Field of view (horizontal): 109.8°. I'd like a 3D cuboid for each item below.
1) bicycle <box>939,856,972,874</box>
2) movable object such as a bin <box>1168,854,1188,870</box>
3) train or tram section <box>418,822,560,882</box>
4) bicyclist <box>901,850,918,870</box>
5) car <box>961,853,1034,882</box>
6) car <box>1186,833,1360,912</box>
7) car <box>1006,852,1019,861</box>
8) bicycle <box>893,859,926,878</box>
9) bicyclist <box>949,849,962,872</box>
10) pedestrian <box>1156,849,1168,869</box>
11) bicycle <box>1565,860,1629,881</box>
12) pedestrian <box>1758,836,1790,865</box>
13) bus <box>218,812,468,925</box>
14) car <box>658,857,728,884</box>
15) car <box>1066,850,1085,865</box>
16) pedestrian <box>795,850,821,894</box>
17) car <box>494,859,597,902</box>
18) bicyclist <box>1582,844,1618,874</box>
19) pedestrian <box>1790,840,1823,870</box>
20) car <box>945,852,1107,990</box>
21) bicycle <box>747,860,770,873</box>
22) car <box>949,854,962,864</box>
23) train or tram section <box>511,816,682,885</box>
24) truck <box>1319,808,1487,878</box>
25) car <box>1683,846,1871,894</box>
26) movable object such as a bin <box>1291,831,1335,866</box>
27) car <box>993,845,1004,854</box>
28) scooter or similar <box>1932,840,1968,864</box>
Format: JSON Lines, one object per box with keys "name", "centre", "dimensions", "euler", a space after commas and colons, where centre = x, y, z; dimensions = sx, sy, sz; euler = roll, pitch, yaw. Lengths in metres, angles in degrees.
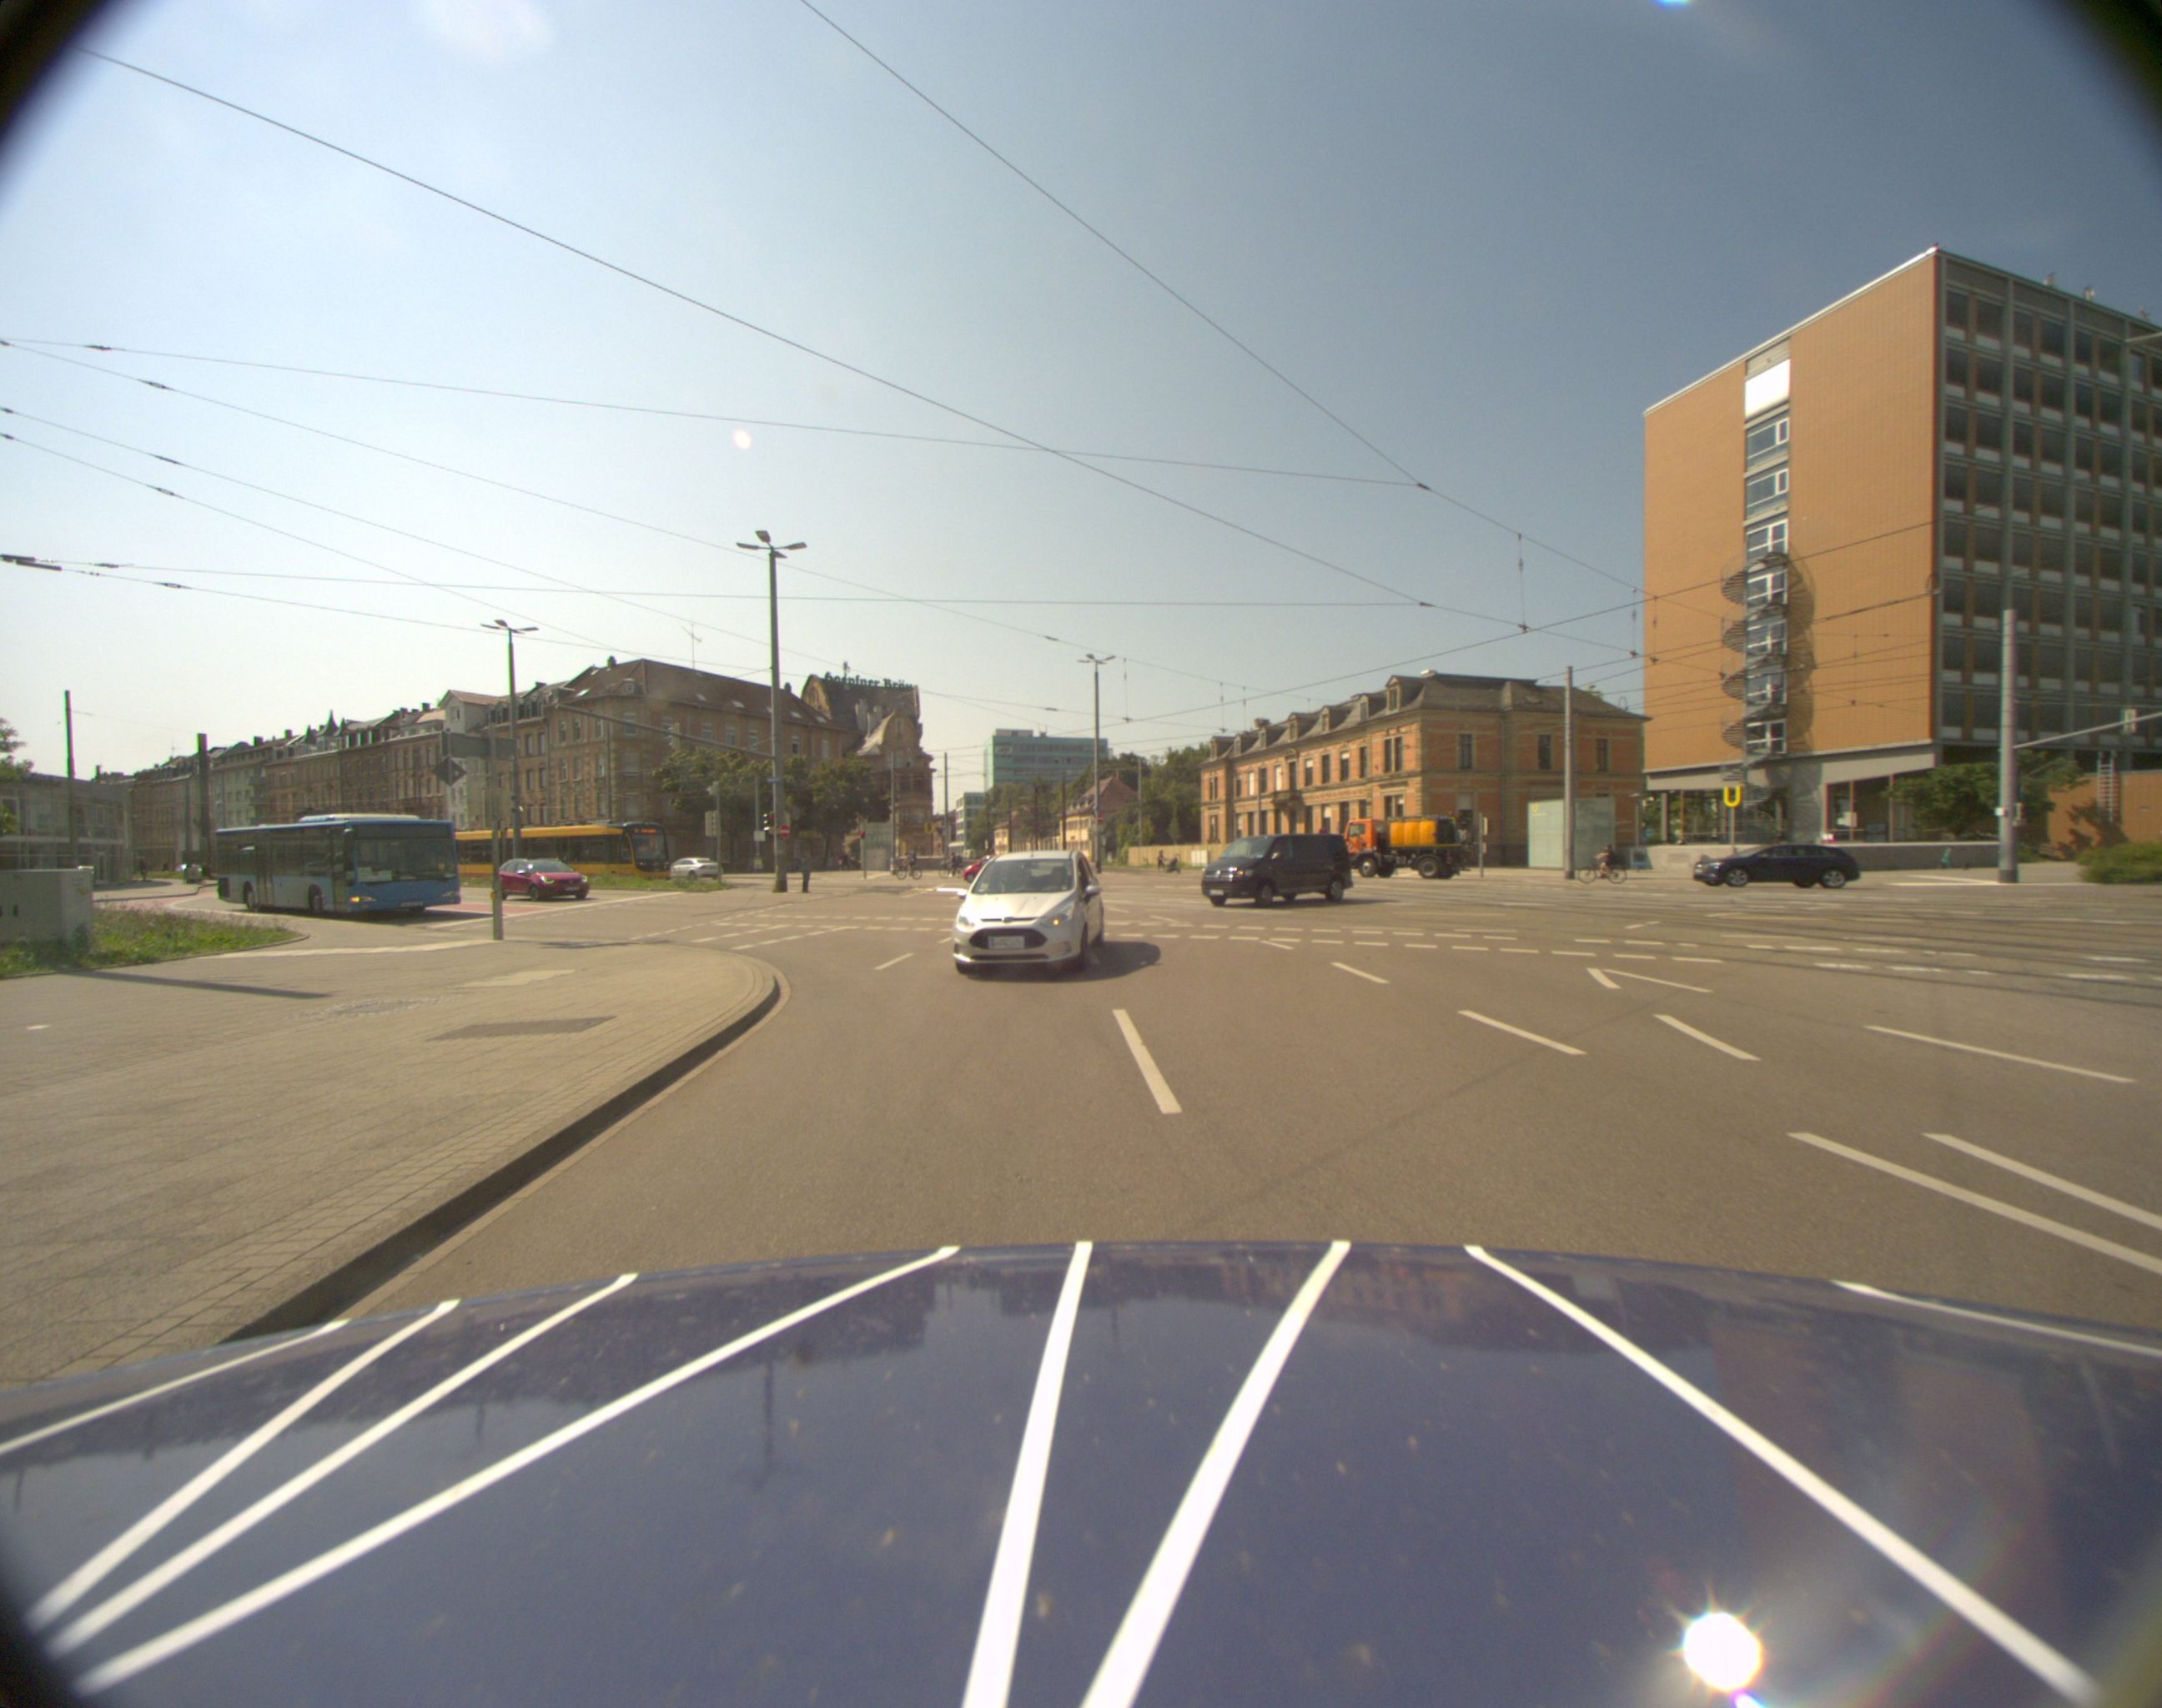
{"name": "bicycle", "centre": [-8.209, 0.699, 49.631], "dimensions": [2.123, 1.105, 0.442], "euler": [1, 1, 17]}
{"name": "movable object such as a bin", "centre": [6.589, 0.547, 51.550], "dimensions": [1.035, 1.078, 0.822], "euler": [-2, -1, 38]}
{"name": "train or tram section", "centre": [-38.437, -0.105, 49.150], "dimensions": [12.184, 3.540, 2.600], "euler": [0, 1, 29]}
{"name": "bicyclist", "centre": [-10.550, 0.373, 46.790], "dimensions": [0.864, 1.227, 1.101], "euler": [-1, 1, -3]}
{"name": "car", "centre": [-4.281, 0.671, 38.866], "dimensions": [3.351, 1.400, 1.520], "euler": [-1, 0, 22]}
{"name": "car", "centre": [5.481, 0.431, 21.457], "dimensions": [4.893, 1.920, 1.896], "euler": [-2, 2, -32]}
{"name": "car", "centre": [-13.557, 0.516, 149.581], "dimensions": [2.001, 1.673, 3.997], "euler": [-1, -1, -12]}
{"name": "bicycle", "centre": [-10.507, 0.909, 46.668], "dimensions": [1.854, 1.105, 0.712], "euler": [-1, 1, -4]}
{"name": "bicyclist", "centre": [-8.192, 0.406, 49.619], "dimensions": [0.643, 1.473, 0.659], "euler": [1, 1, 17]}
{"name": "pedestrian", "centre": [5.526, 0.314, 51.799], "dimensions": [0.815, 1.343, 0.720], "euler": [-1, 1, 5]}
{"name": "bicycle", "centre": [22.206, 0.719, 32.745], "dimensions": [2.165, 0.894, 0.642], "euler": [-1, 1, 20]}
{"name": "pedestrian", "centre": [33.696, -0.163, 36.972], "dimensions": [0.848, 1.387, 0.786], "euler": [-1, 1, -1]}
{"name": "bus", "centre": [-24.452, 0.432, 24.851], "dimensions": [12.049, 3.047, 2.739], "euler": [-1, 1, 31]}
{"name": "car", "centre": [-25.307, 1.054, 49.569], "dimensions": [4.590, 1.609, 1.775], "euler": [0, 1, 29]}
{"name": "car", "centre": [-0.765, 0.513, 103.072], "dimensions": [2.000, 2.001, 3.998], "euler": [-1, -1, -9]}
{"name": "pedestrian", "centre": [-10.678, 0.701, 29.752], "dimensions": [0.721, 1.677, 0.802], "euler": [2, -1, -35]}
{"name": "car", "centre": [-20.039, 0.981, 28.410], "dimensions": [3.762, 1.463, 1.633], "euler": [-1, 1, 29]}
{"name": "bicyclist", "centre": [22.390, 0.201, 32.804], "dimensions": [1.103, 1.259, 0.858], "euler": [-1, 1, 19]}
{"name": "pedestrian", "centre": [34.212, 0.030, 35.839], "dimensions": [0.848, 1.387, 0.786], "euler": [-1, 1, -1]}
{"name": "car", "centre": [-0.590, 0.802, 11.230], "dimensions": [1.691, 1.586, 4.362], "euler": [-1, 1, 5]}
{"name": "bicycle", "centre": [-25.249, 0.997, 59.544], "dimensions": [0.461, 0.952, 1.791], "euler": [0, 1, 23]}
{"name": "car", "centre": [-18.021, 0.715, 109.316], "dimensions": [1.376, 1.389, 3.252], "euler": [-1, -1, -17]}
{"name": "train or tram section", "centre": [-27.781, -0.176, 43.242], "dimensions": [12.184, 3.540, 2.600], "euler": [0, 1, 29]}
{"name": "truck", "centre": [16.132, -0.425, 38.413], "dimensions": [7.171, 3.209, 3.049], "euler": [-2, -1, 42]}
{"name": "car", "centre": [25.481, 0.590, 28.029], "dimensions": [4.689, 1.631, 2.003], "euler": [-1, -1, 17]}
{"name": "movable object such as a bin", "centre": [18.353, -0.464, 60.281], "dimensions": [1.817, 2.656, 4.453], "euler": [-1, 1, -4]}
{"name": "car", "centre": [-18.111, -0.948, 167.113], "dimensions": [2.001, 1.892, 3.997], "euler": [-1, -1, -12]}
{"name": "scooter or similar", "centre": [42.850, -0.082, 37.475], "dimensions": [1.143, 1.150, 0.443], "euler": [-1, 1, 11]}
